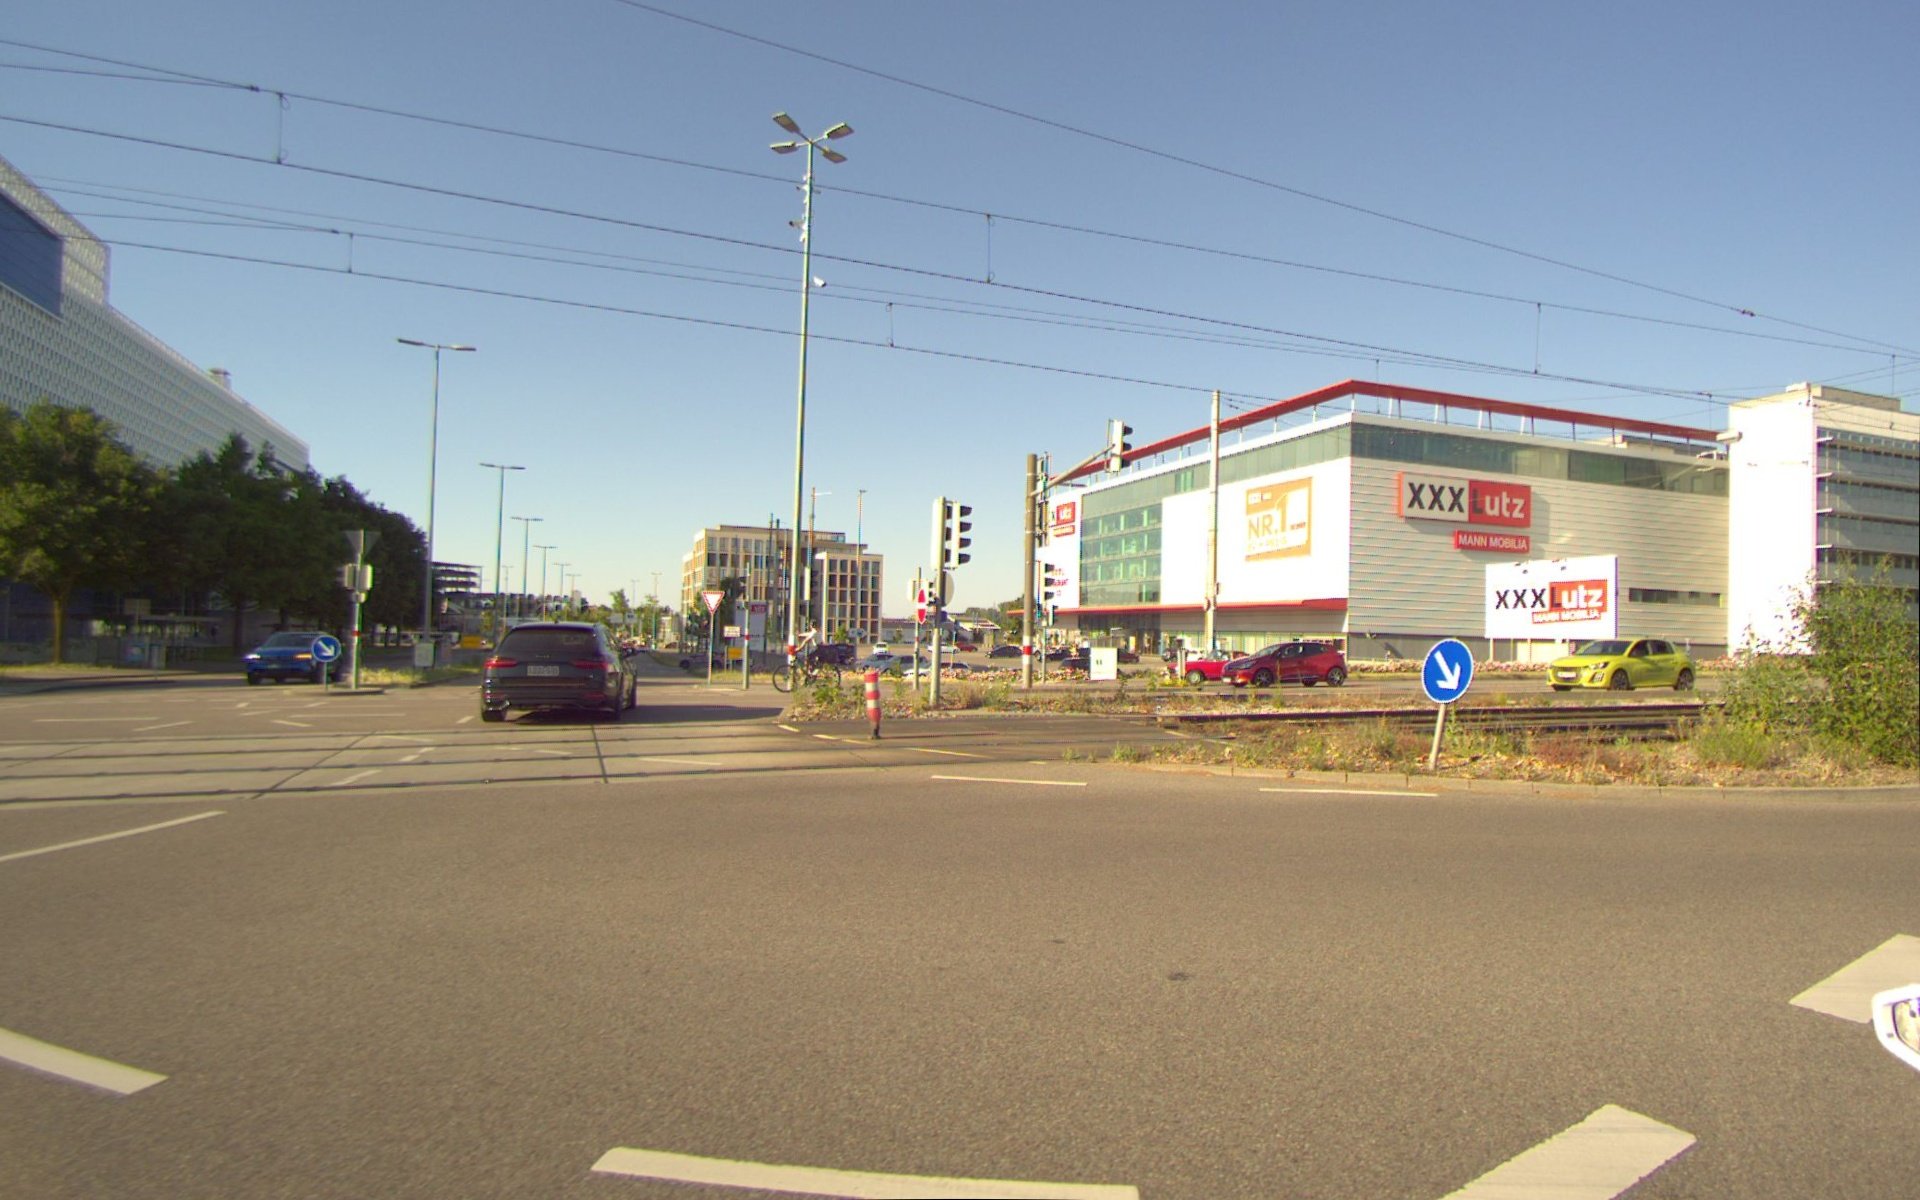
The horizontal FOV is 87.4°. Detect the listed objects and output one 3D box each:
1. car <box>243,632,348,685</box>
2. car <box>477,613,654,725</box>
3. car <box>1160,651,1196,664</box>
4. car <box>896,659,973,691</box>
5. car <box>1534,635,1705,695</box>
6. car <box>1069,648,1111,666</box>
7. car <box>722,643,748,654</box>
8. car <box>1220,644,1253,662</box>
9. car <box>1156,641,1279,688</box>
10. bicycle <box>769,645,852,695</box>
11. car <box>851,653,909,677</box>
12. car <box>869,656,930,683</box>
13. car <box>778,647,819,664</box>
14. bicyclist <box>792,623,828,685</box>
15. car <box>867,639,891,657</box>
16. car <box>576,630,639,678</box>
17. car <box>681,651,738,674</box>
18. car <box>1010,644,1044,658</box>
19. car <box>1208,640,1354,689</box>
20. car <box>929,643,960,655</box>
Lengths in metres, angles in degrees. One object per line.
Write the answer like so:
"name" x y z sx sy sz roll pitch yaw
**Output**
"car" -20.671 1.876 31.433 1.988 1.517 4.235 2 -5 -24
"car" -5.863 1.001 15.420 1.888 1.477 4.082 1 -2 -13
"car" 23.970 6.321 110.466 3.611 1.387 1.651 1 1 -21
"car" -1.579 4.664 62.826 4.360 1.733 1.986 1 1 -27
"car" 17.311 1.687 26.380 4.048 1.466 1.780 1 -3 -22
"car" 13.725 6.013 105.888 3.944 1.725 1.969 1 1 -24
"car" -37.770 8.158 168.528 3.941 1.805 1.990 1 1 -22
"car" 30.743 5.845 111.528 3.240 1.880 1.503 1 1 -21
"car" 9.277 2.323 36.318 3.926 1.664 1.825 0 -3 -8
"bicycle" -3.778 1.759 25.429 1.965 1.183 0.586 1 0 -26
"car" -6.130 4.942 76.825 3.947 1.614 1.923 1 1 -26
"car" -4.334 4.941 71.959 3.947 1.768 1.923 1 1 -26
"car" -17.031 5.841 106.042 3.942 1.677 1.990 1 -2 -22
"bicyclist" -3.803 1.357 25.408 0.741 1.543 0.586 1 0 -26
"car" -9.913 5.855 122.623 1.799 1.824 4.210 1 1 -19
"car" -11.889 1.851 33.787 1.746 1.478 3.567 2 -5 -23
"car" -20.619 5.119 82.662 4.163 1.589 1.909 2 1 2
"car" 8.527 6.428 127.659 3.951 1.640 1.865 1 1 -29
"car" 10.298 2.091 32.300 4.061 1.495 1.937 1 -4 -13
"car" -2.143 6.727 138.275 3.940 1.468 1.870 1 1 -21
